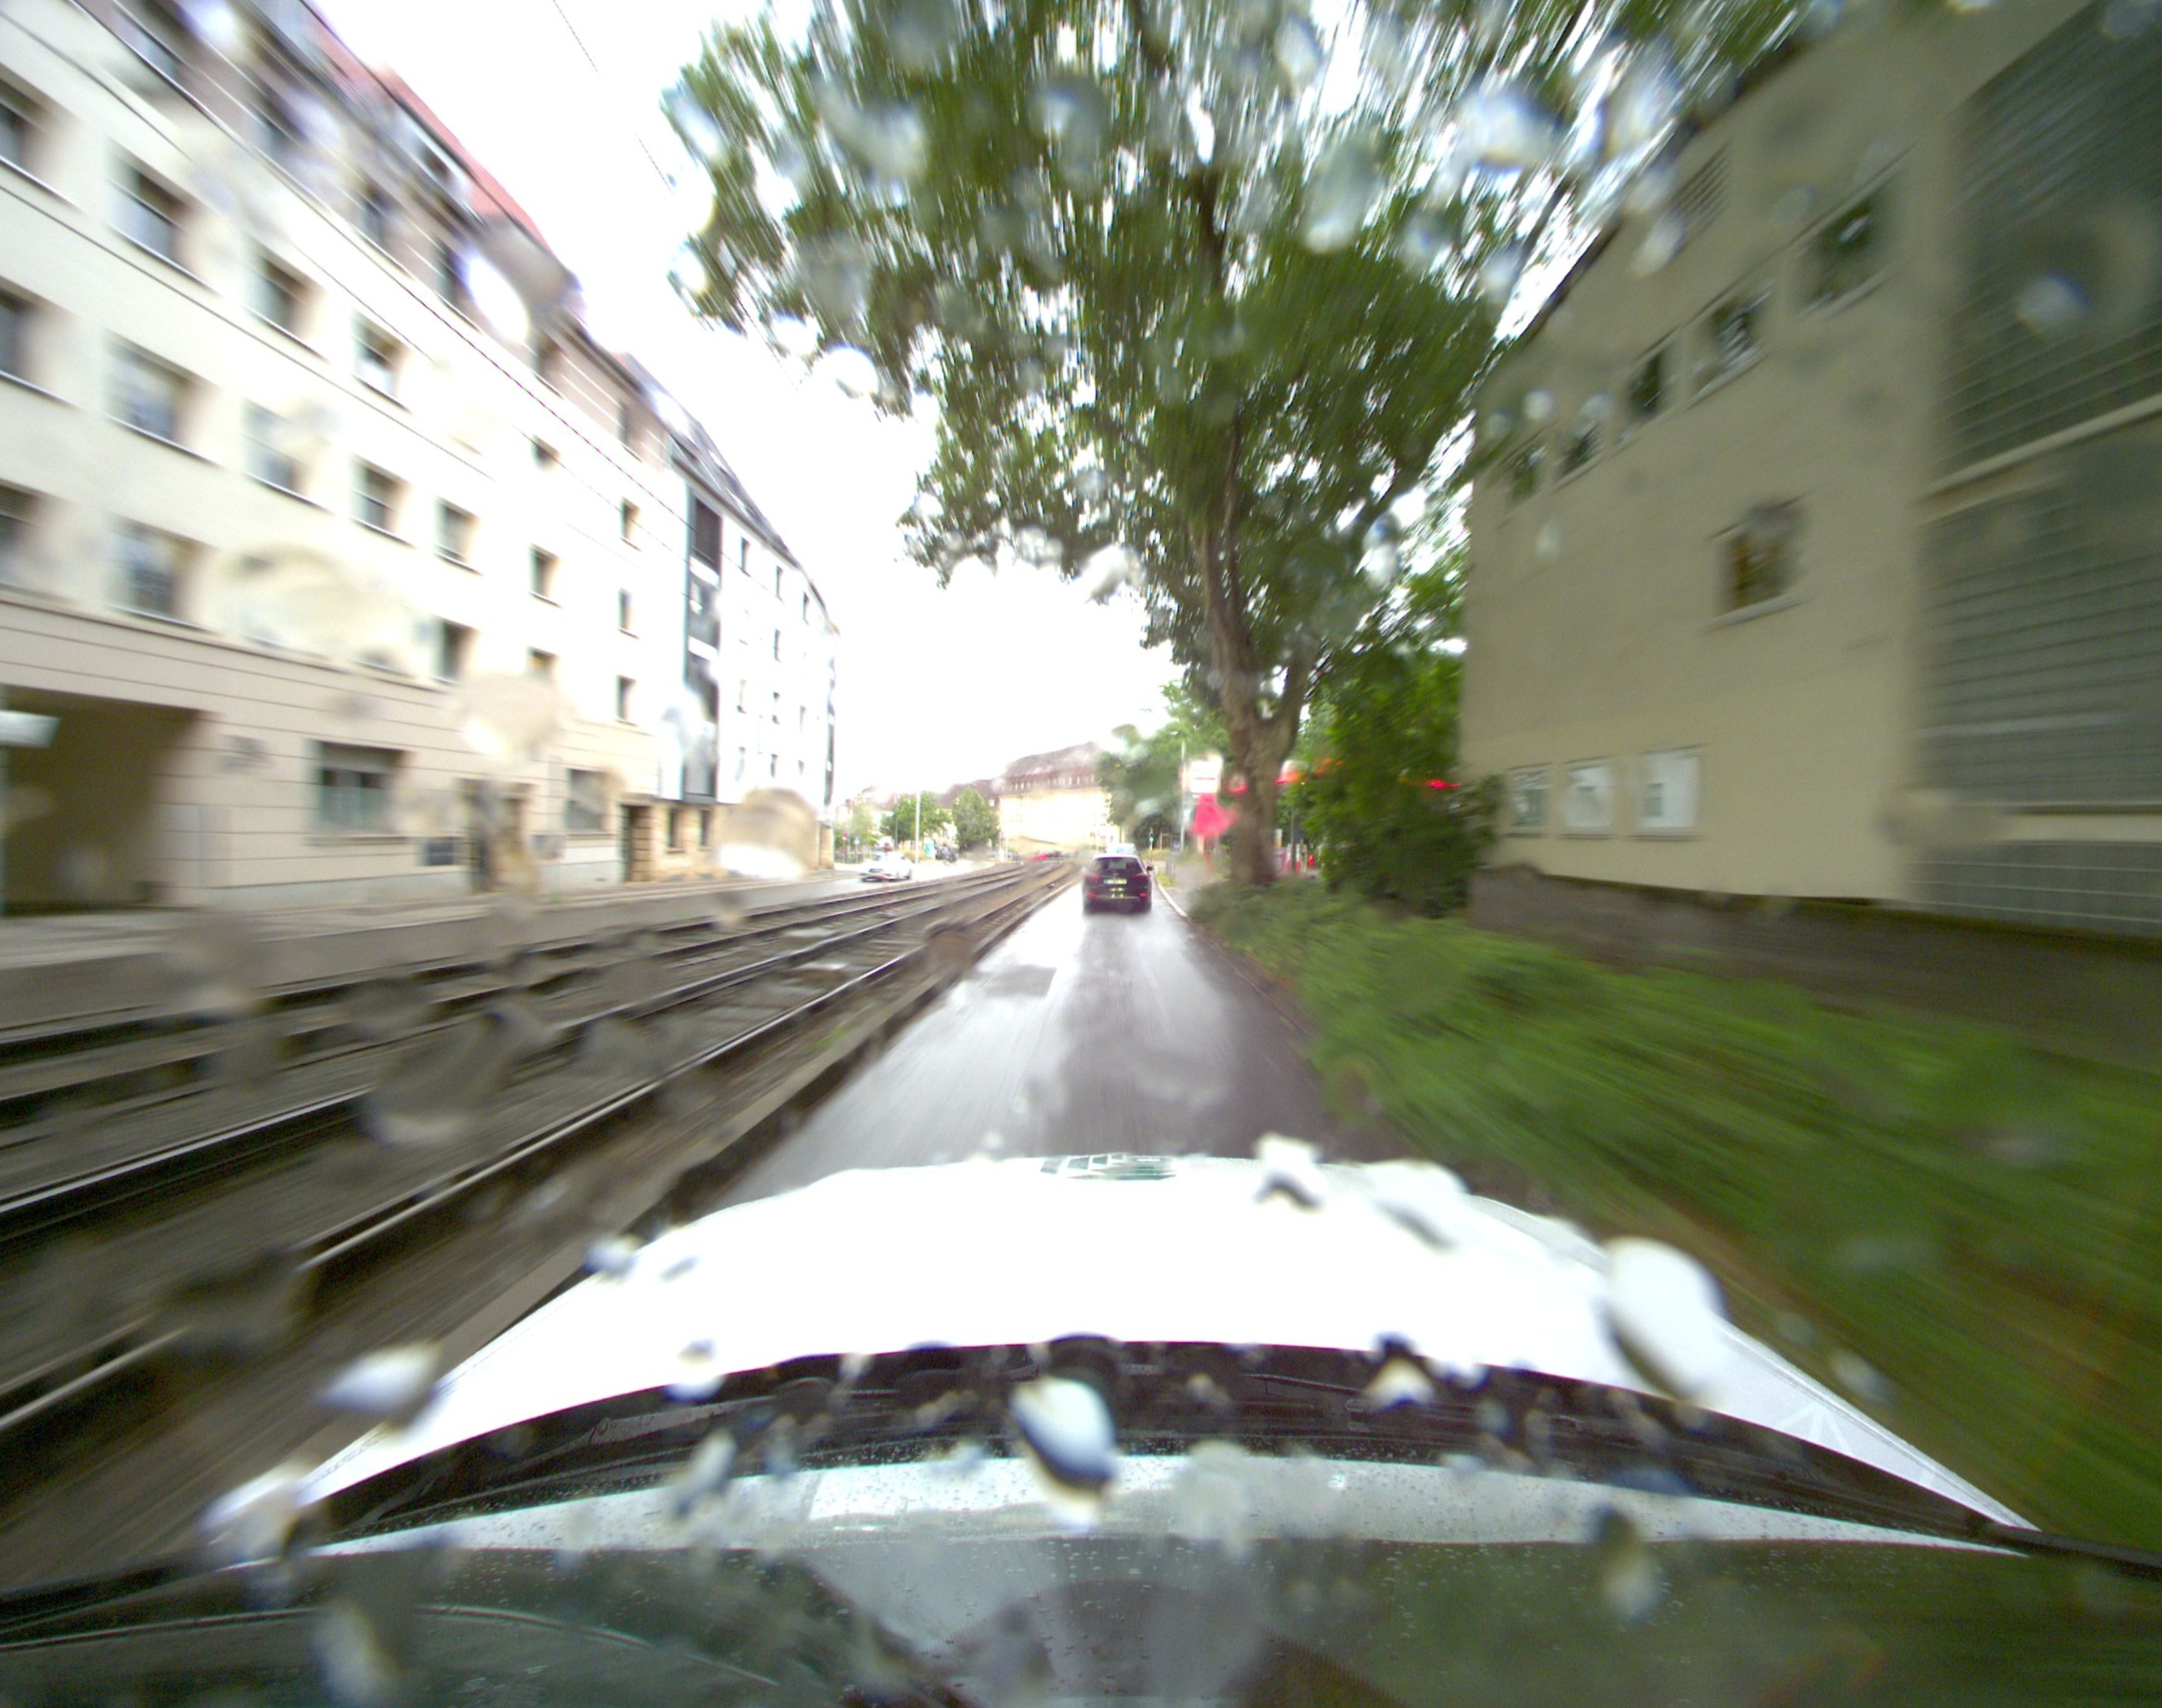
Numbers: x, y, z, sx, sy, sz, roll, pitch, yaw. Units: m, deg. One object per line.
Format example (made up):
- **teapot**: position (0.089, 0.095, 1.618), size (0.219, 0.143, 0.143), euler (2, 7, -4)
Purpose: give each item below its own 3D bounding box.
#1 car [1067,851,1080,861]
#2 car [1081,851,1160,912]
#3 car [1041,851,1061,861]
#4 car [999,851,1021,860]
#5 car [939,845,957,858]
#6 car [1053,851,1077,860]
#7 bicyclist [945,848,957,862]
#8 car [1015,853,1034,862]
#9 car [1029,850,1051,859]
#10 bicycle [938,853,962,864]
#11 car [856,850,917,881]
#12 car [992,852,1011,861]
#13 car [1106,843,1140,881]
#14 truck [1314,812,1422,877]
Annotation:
- **car**: position (-1.204, 0.355, 127.981), size (1.656, 1.476, 3.634), euler (1, 0, -7)
- **car**: position (0.991, 0.684, 22.327), size (1.927, 1.453, 4.317), euler (2, 0, 0)
- **car**: position (-5.090, 0.298, 136.605), size (1.592, 1.542, 3.959), euler (1, 0, -33)
- **car**: position (-13.068, 0.211, 149.459), size (2.010, 1.542, 3.953), euler (1, 0, -40)
- **car**: position (-16.209, -0.313, 99.391), size (1.992, 1.542, 3.988), euler (1, 0, -8)
- **car**: position (-2.632, 0.245, 131.682), size (2.007, 1.542, 3.959), euler (1, 0, -33)
- **bicyclist**: position (-12.120, 0.114, 75.894), size (0.777, 1.313, 0.782), euler (-1, 0, -36)
- **car**: position (-10.107, 0.602, 145.766), size (2.004, 1.542, 3.966), euler (0, 0, -26)
- **car**: position (-7.095, 0.076, 141.185), size (2.008, 1.542, 3.957), euler (1, 0, -35)
- **bicycle**: position (-12.195, 0.419, 75.905), size (2.114, 0.943, 0.806), euler (0, 0, -37)
- **car**: position (-10.056, 0.580, 42.388), size (1.792, 1.482, 4.842), euler (1, 0, 2)
- **car**: position (-14.950, 0.432, 153.373), size (2.007, 1.542, 3.960), euler (1, 0, -32)
- **car**: position (2.346, 0.422, 46.016), size (1.734, 2.014, 3.904), euler (1, 0, 1)
- **truck**: position (16.618, -0.539, 47.838), size (3.890, 3.517, 6.979), euler (-1, 0, 0)
